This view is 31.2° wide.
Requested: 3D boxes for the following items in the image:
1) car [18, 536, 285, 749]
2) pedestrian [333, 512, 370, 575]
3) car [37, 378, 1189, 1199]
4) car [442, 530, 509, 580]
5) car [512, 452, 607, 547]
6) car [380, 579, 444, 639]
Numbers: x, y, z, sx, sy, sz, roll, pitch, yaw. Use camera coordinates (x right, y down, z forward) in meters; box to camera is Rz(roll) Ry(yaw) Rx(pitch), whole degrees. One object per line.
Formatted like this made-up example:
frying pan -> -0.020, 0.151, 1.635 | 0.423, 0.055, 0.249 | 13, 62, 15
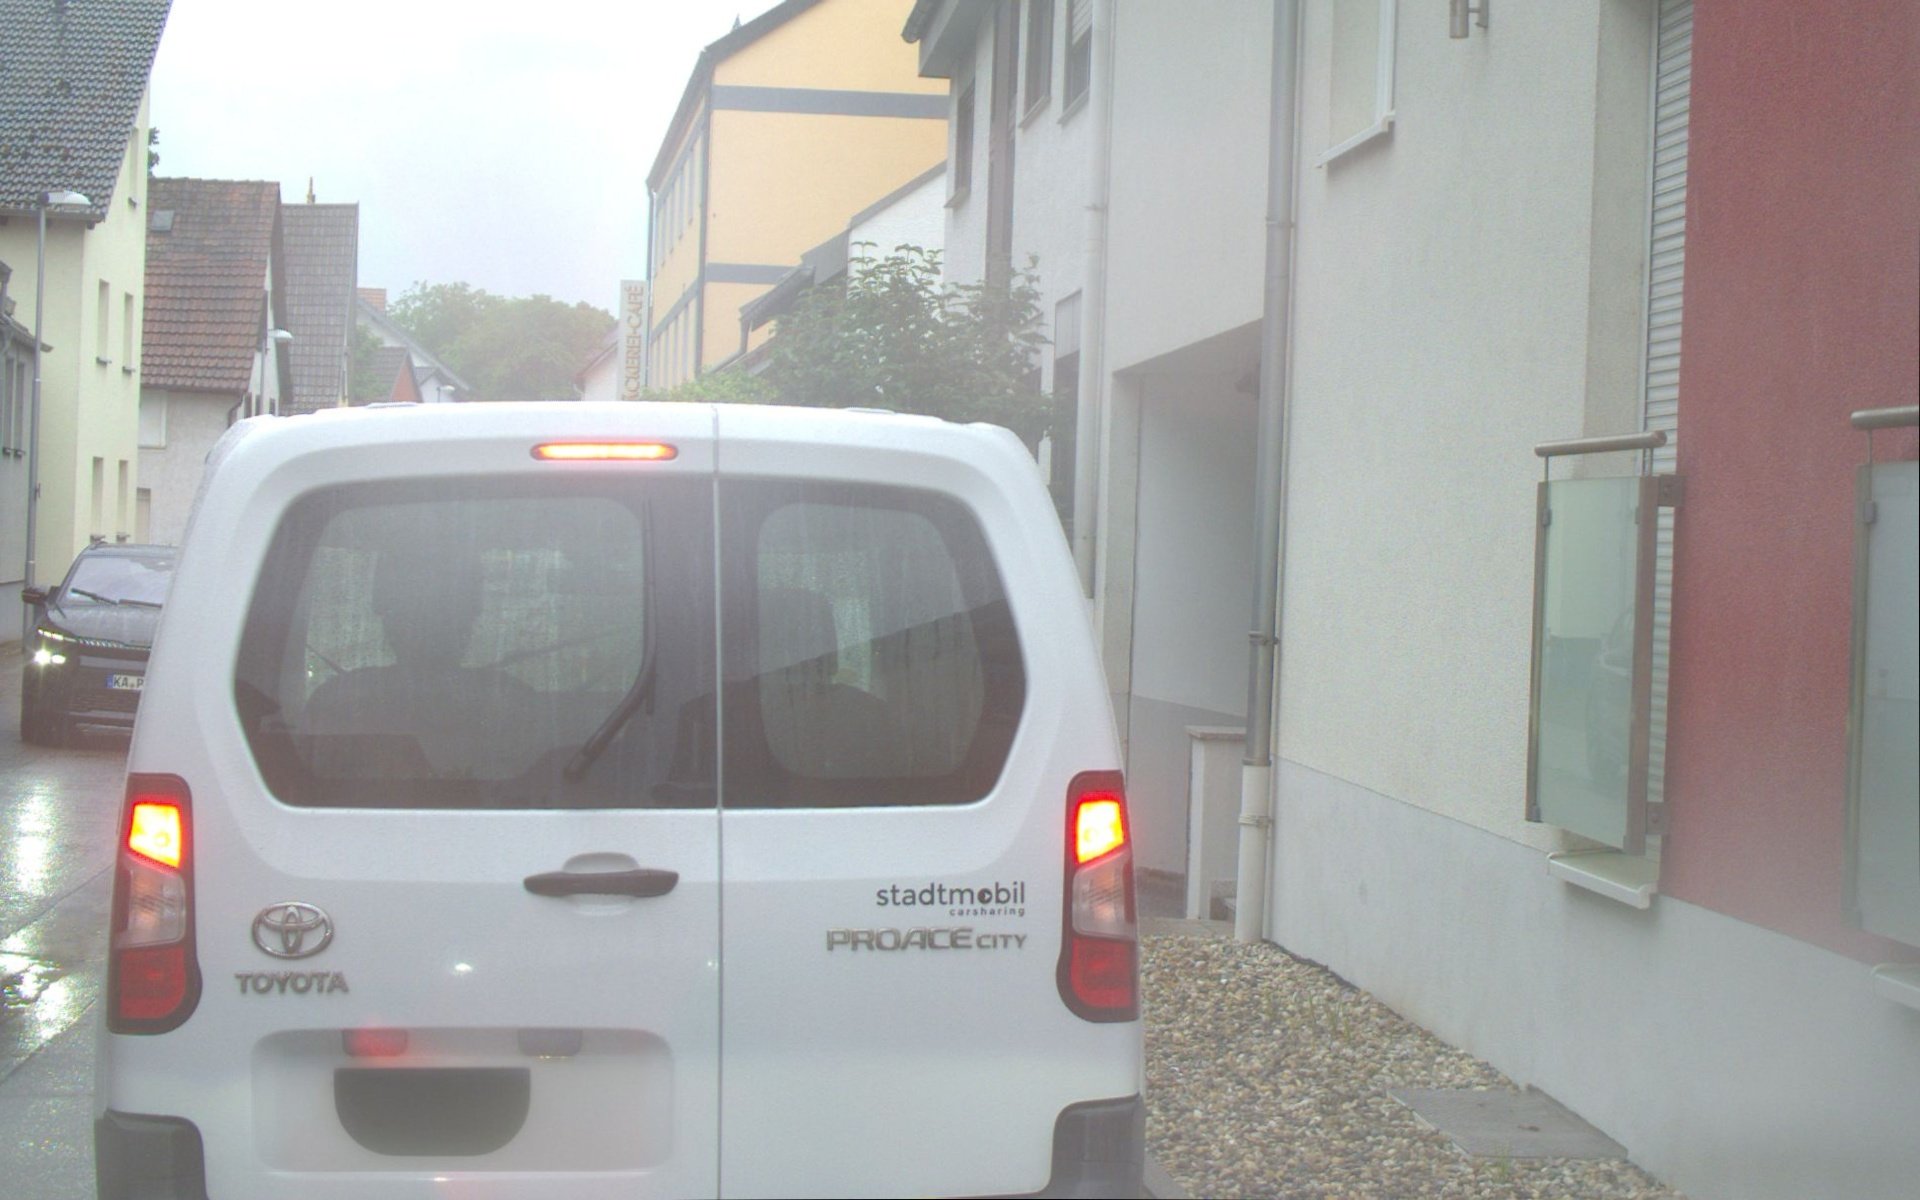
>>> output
car -> -6.541, 0.294, 28.183 | 1.832, 1.550, 4.241 | 2, 0, -10
pedestrian -> -18.240, -1.689, 103.095 | 1.050, 1.886, 0.877 | 1, 0, -9
car -> -0.833, 0.537, 7.344 | 1.774, 1.774, 4.001 | 1, 1, -9
car -> -14.010, -1.286, 99.279 | 1.779, 1.390, 4.001 | 1, 1, -10
car -> -8.849, -2.209, 76.273 | 1.993, 2.007, 4.001 | 1, 1, -6
car -> -14.116, 0.209, 88.516 | 1.560, 1.472, 4.001 | 1, 1, -10
